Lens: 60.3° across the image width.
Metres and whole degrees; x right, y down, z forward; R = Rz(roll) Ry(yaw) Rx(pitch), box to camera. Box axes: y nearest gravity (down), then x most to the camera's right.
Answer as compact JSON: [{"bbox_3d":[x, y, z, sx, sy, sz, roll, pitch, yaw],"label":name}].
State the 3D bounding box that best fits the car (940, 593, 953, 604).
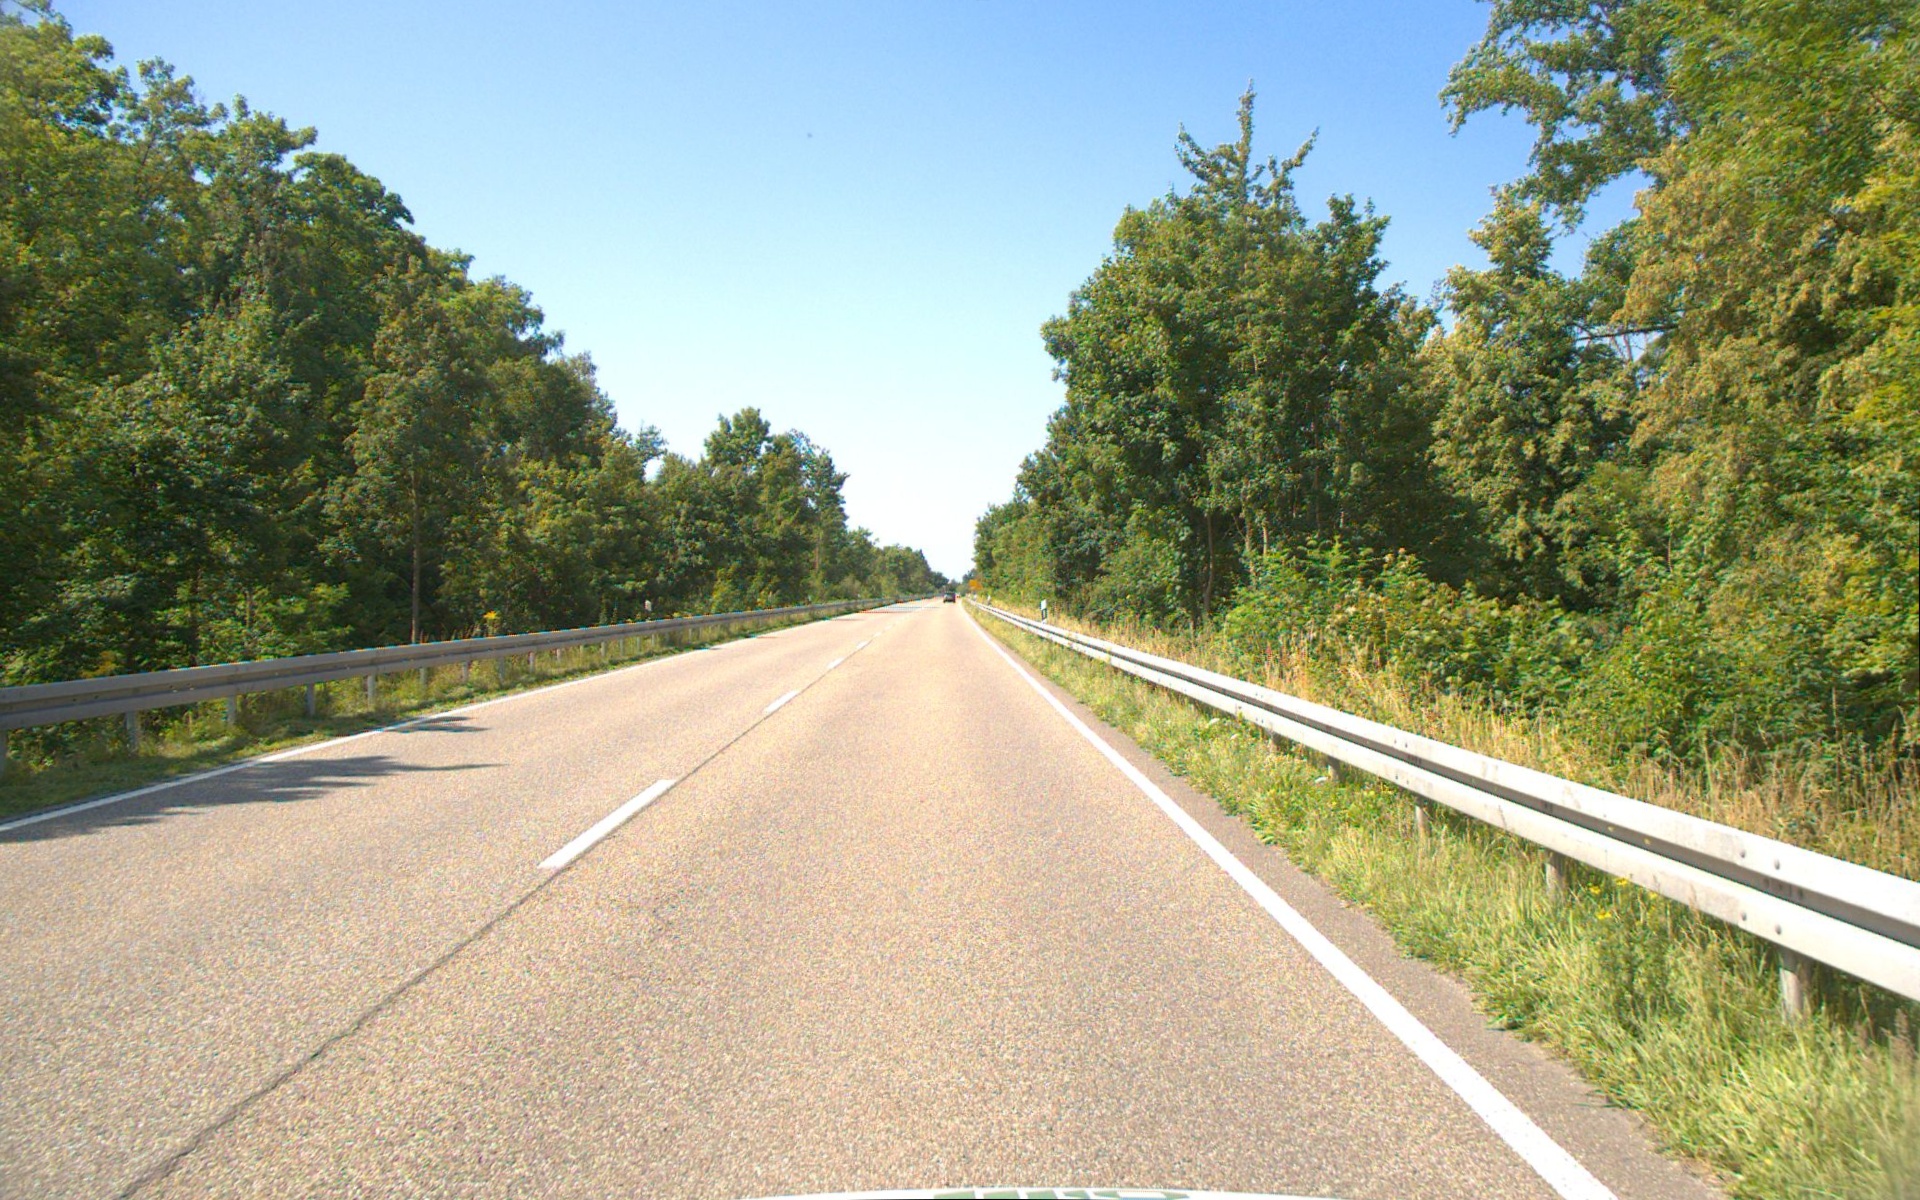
[{"bbox_3d":[-1.846,-0.194,234.519,1.705,1.496,3.693,0,0,1],"label":"car"}]
